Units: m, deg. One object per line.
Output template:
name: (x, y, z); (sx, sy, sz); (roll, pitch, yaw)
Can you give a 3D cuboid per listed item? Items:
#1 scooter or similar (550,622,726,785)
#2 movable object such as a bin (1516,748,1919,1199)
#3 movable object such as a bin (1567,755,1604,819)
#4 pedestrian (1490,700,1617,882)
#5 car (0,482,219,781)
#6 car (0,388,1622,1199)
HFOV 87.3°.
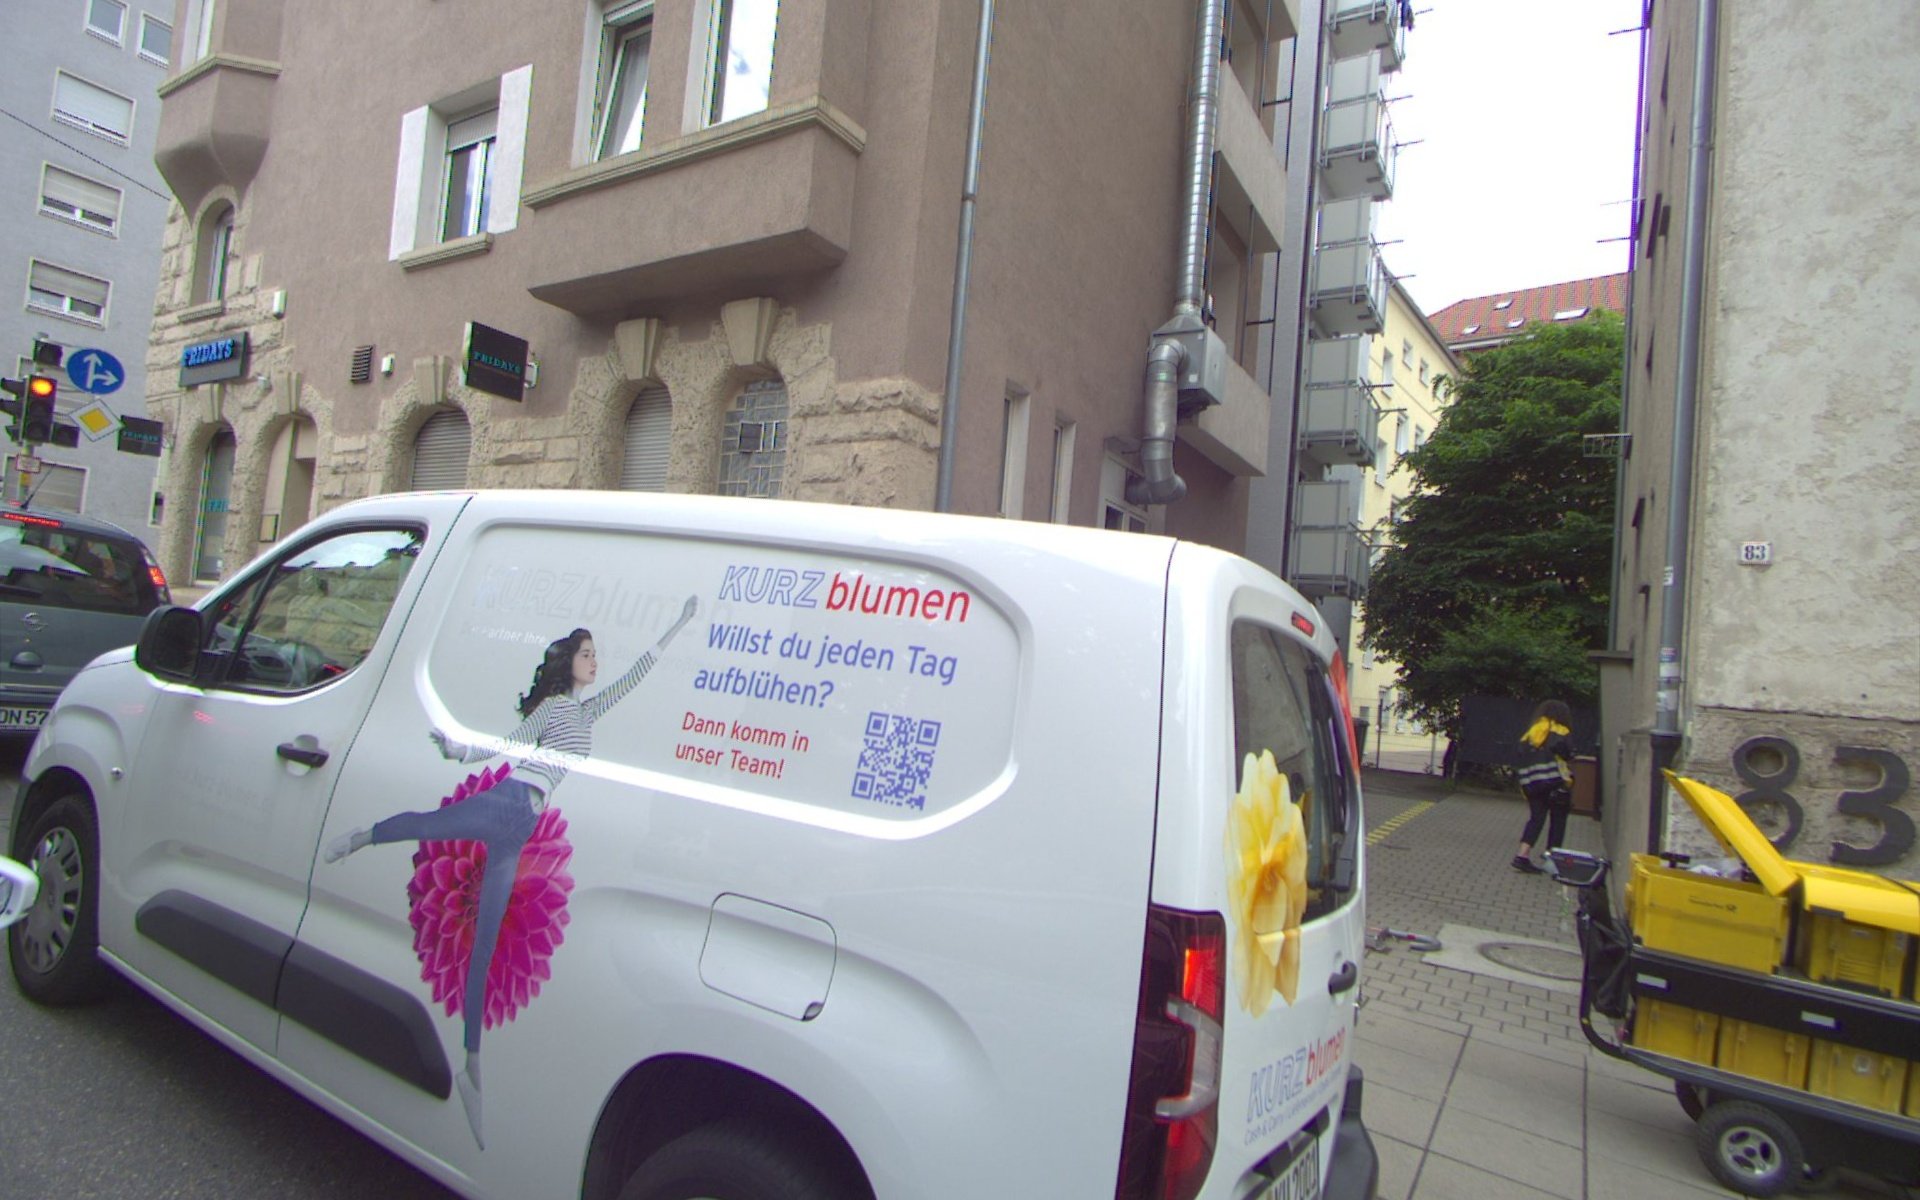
scooter or similar: (-2.682, 0.825, 8.331); (1.400, 1.117, 0.527); (6, -1, 34)
movable object such as a bin: (3.399, 1.471, 3.967); (1.979, 1.391, 1.223); (6, 0, 30)
movable object such as a bin: (9.931, 2.956, 15.976); (0.405, 0.922, 0.340); (6, -1, 32)
pedestrian: (5.852, 1.850, 9.965); (0.769, 1.665, 0.812); (2, -3, 1)
car: (-6.706, 0.032, 6.526); (3.608, 1.614, 1.634); (6, -5, 32)
car: (-0.883, 0.583, 3.105); (4.597, 1.793, 1.983); (6, -5, 30)
